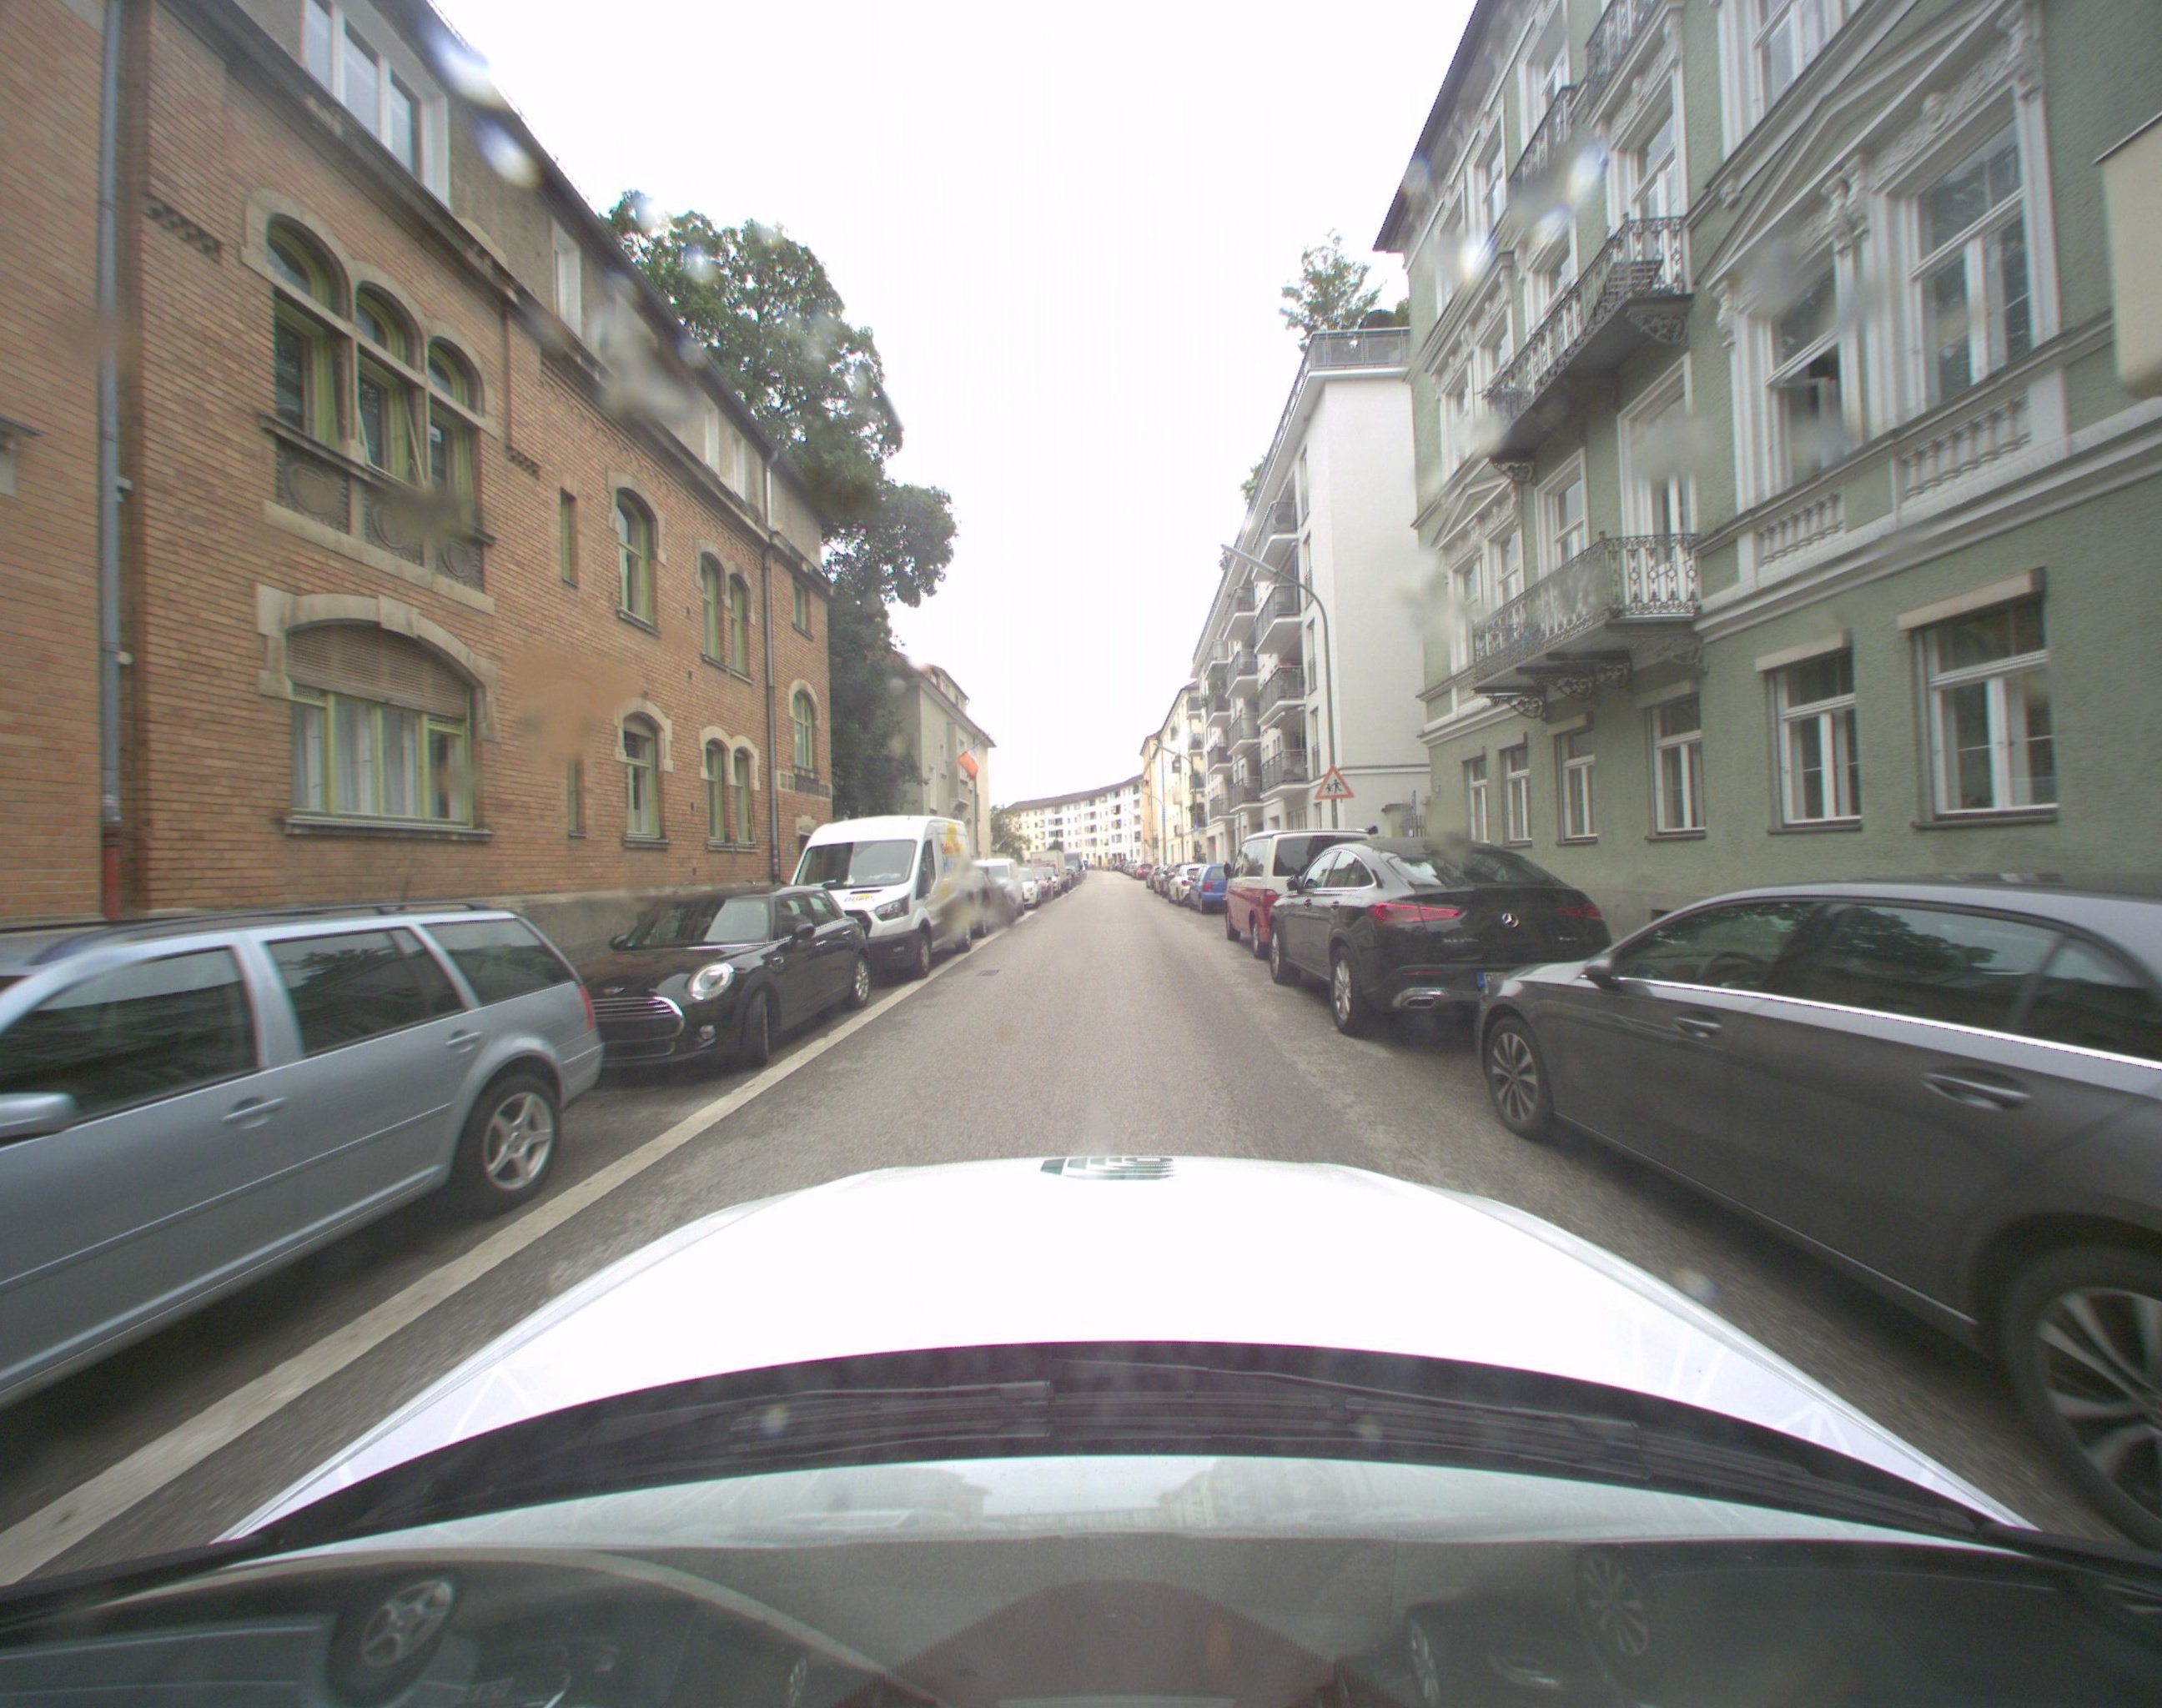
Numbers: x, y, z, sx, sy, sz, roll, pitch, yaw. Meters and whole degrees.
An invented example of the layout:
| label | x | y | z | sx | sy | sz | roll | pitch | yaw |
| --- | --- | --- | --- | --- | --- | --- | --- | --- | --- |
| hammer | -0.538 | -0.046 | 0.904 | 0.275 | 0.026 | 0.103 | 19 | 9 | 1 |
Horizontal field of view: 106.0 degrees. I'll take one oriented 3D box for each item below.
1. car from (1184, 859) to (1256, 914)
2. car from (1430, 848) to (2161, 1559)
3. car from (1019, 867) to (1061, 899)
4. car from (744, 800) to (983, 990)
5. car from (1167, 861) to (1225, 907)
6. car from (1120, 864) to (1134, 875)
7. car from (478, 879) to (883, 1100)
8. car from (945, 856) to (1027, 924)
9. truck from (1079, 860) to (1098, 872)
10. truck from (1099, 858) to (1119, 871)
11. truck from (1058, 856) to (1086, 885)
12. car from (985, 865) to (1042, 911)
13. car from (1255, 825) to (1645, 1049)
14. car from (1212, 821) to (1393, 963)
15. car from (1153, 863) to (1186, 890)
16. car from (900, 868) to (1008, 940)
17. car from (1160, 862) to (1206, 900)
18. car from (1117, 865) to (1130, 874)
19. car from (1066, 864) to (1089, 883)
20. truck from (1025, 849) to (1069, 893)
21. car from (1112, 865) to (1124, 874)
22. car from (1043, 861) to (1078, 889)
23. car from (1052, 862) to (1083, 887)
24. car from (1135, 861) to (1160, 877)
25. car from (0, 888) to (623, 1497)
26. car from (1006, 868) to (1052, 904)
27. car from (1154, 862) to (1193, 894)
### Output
| label | x | y | z | sx | sy | sz | roll | pitch | yaw |
| --- | --- | --- | --- | --- | --- | --- | --- | --- | --- |
| car | 4.064 | 0.935 | 24.241 | 1.602 | 1.434 | 3.621 | -2 | -1 | 2 |
| car | 3.120 | 0.733 | 3.186 | 1.721 | 1.459 | 4.418 | -1 | -1 | 2 |
| car | -2.022 | 1.414 | 40.725 | 1.789 | 1.469 | 3.867 | -2 | -1 | 1 |
| car | -3.122 | 0.581 | 13.138 | 2.128 | 2.349 | 5.373 | -2 | -1 | 2 |
| car | 3.992 | 1.015 | 28.713 | 1.642 | 1.434 | 4.003 | -2 | -1 | 3 |
| car | 6.664 | 2.239 | 118.295 | 1.778 | 1.385 | 3.997 | -2 | -1 | -2 |
| car | -3.313 | 1.018 | 7.673 | 1.691 | 1.431 | 3.833 | -3 | -1 | 3 |
| car | -2.652 | 0.992 | 23.571 | 1.815 | 1.711 | 3.999 | -2 | -1 | 0 |
| truck | 1.584 | 2.453 | 164.502 | 2.624 | 2.300 | 5.416 | -1 | -1 | -13 |
| truck | 4.895 | 1.847 | 143.404 | 2.227 | 2.300 | 5.268 | -1 | -1 | -12 |
| truck | -0.712 | 1.373 | 68.508 | 1.985 | 2.319 | 5.413 | -2 | -1 | 3 |
| car | -2.424 | 1.220 | 30.243 | 1.841 | 1.540 | 3.997 | -2 | -1 | -2 |
| car | 3.189 | 0.649 | 8.302 | 1.853 | 1.551 | 4.754 | -2 | -1 | 1 |
| car | 3.579 | 0.590 | 14.160 | 1.863 | 1.968 | 4.817 | -2 | -1 | 1 |
| car | 5.049 | 1.284 | 46.884 | 1.642 | 1.434 | 4.287 | -2 | -1 | 3 |
| car | -2.842 | 1.092 | 19.062 | 1.738 | 1.445 | 4.001 | -2 | -1 | 1 |
| car | 4.296 | 1.127 | 34.778 | 1.642 | 1.434 | 4.003 | -2 | -1 | 3 |
| car | 6.716 | 2.464 | 129.355 | 1.778 | 1.385 | 3.997 | -2 | -1 | -2 |
| car | -0.327 | 1.872 | 80.024 | 1.985 | 1.762 | 4.384 | -2 | -1 | 3 |
| truck | -1.907 | 0.991 | 47.461 | 1.985 | 2.319 | 5.413 | -2 | -1 | 3 |
| car | 6.171 | 2.616 | 135.696 | 1.778 | 1.385 | 3.997 | -2 | -1 | -2 |
| car | -1.340 | 1.407 | 55.333 | 1.985 | 1.762 | 4.384 | -2 | -1 | 3 |
| car | -0.974 | 1.527 | 61.917 | 1.985 | 1.762 | 4.384 | -2 | -1 | 3 |
| car | 6.051 | 1.366 | 74.452 | 1.778 | 1.385 | 3.997 | -2 | -1 | -2 |
| car | -3.576 | 0.957 | 2.665 | 1.682 | 1.454 | 3.999 | -4 | -1 | 2 |
| car | -2.183 | 1.334 | 34.995 | 1.746 | 1.368 | 3.997 | -2 | -1 | -2 |
| car | 4.564 | 1.178 | 40.662 | 1.642 | 1.434 | 4.003 | -2 | -1 | 3 |
